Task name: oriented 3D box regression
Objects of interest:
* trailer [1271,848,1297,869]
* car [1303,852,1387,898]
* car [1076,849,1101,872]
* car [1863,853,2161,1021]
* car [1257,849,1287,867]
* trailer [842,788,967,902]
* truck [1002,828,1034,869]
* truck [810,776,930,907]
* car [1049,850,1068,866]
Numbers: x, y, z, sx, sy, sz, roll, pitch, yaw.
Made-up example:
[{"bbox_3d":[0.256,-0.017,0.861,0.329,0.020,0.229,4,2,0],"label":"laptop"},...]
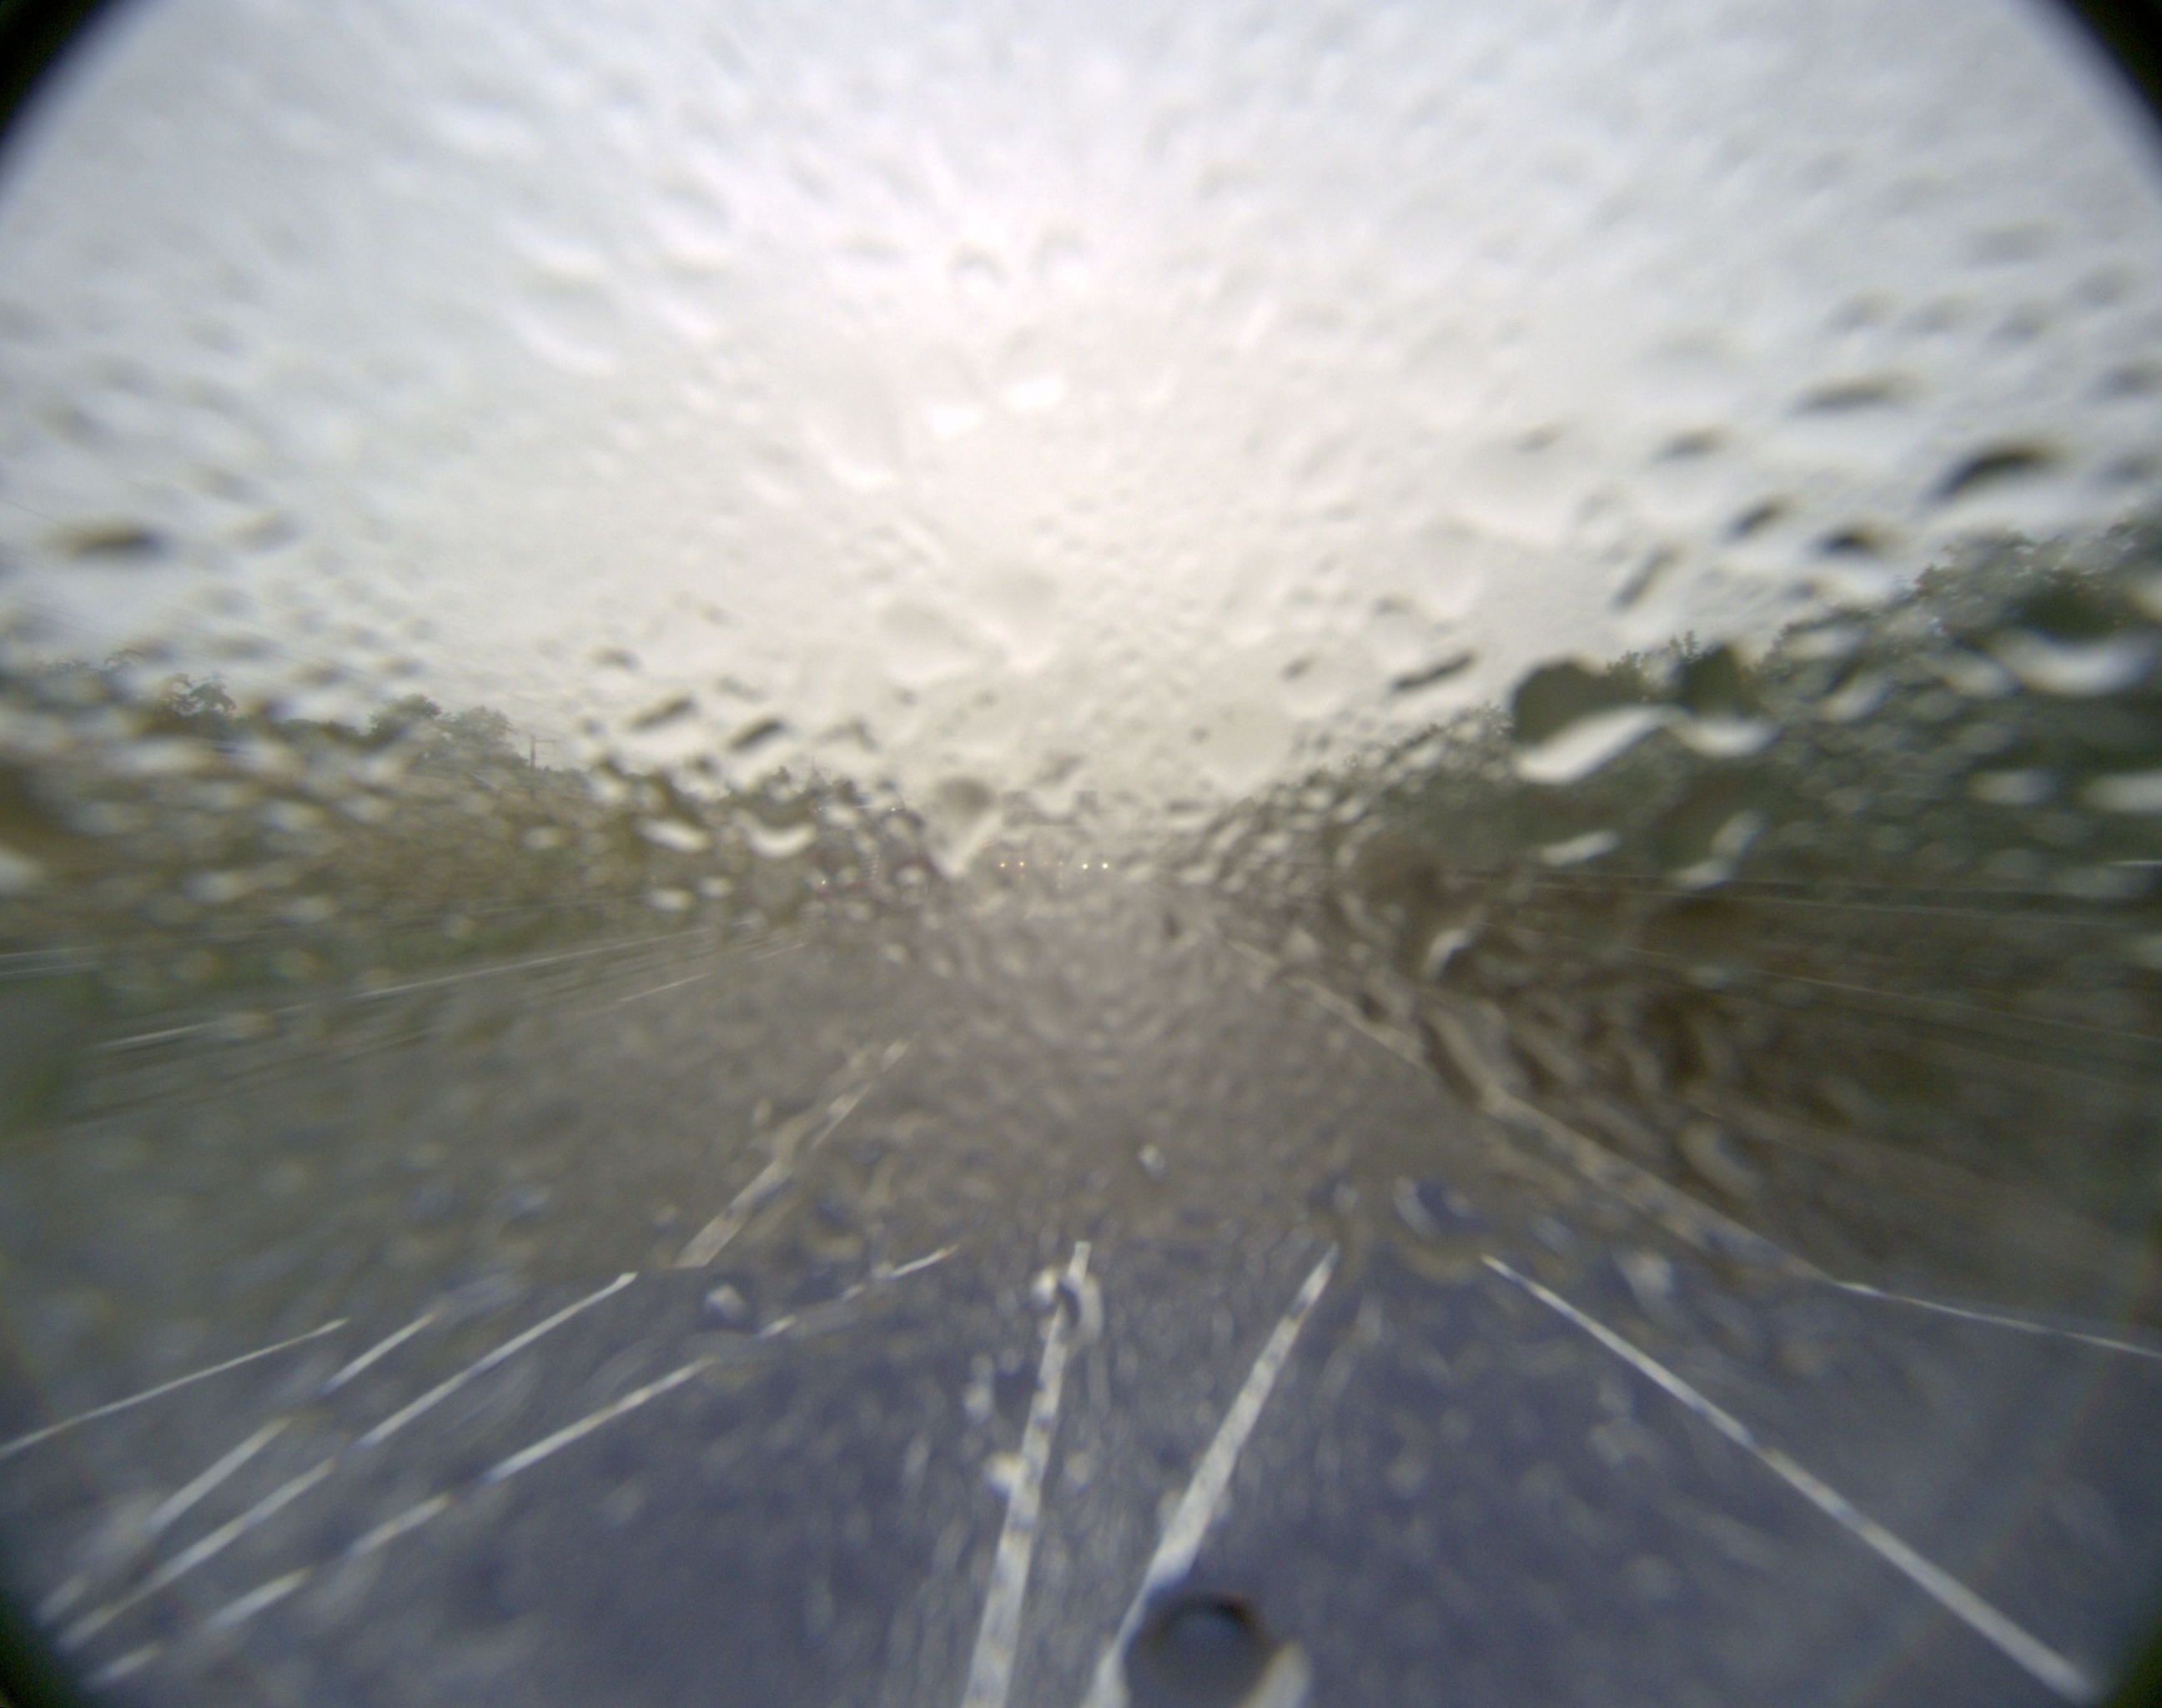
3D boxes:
[{"bbox_3d":[20.292,0.474,76.162,1.418,2.001,4.019,-2,-1,0],"label":"trailer"},{"bbox_3d":[12.115,0.896,35.321,1.999,1.849,5.075,-2,1,-1],"label":"car"},{"bbox_3d":[0.558,0.543,59.168,1.845,1.670,4.000,-2,-1,0],"label":"car"},{"bbox_3d":[10.979,0.783,7.413,1.999,1.442,4.517,-2,1,-1],"label":"car"},{"bbox_3d":[20.226,0.378,80.543,1.886,1.804,4.723,-2,0,0],"label":"car"},{"bbox_3d":[-6.977,-0.242,32.002,2.503,3.859,11.067,-2,-1,0],"label":"trailer"},{"bbox_3d":[-6.321,-0.484,76.656,2.457,3.866,6.200,-2,-1,1],"label":"truck"},{"bbox_3d":[-6.988,-0.351,25.876,2.503,3.960,5.076,-2,0,0],"label":"truck"},{"bbox_3d":[-2.188,0.440,76.226,1.663,1.491,3.837,-2,-1,1],"label":"car"}]
